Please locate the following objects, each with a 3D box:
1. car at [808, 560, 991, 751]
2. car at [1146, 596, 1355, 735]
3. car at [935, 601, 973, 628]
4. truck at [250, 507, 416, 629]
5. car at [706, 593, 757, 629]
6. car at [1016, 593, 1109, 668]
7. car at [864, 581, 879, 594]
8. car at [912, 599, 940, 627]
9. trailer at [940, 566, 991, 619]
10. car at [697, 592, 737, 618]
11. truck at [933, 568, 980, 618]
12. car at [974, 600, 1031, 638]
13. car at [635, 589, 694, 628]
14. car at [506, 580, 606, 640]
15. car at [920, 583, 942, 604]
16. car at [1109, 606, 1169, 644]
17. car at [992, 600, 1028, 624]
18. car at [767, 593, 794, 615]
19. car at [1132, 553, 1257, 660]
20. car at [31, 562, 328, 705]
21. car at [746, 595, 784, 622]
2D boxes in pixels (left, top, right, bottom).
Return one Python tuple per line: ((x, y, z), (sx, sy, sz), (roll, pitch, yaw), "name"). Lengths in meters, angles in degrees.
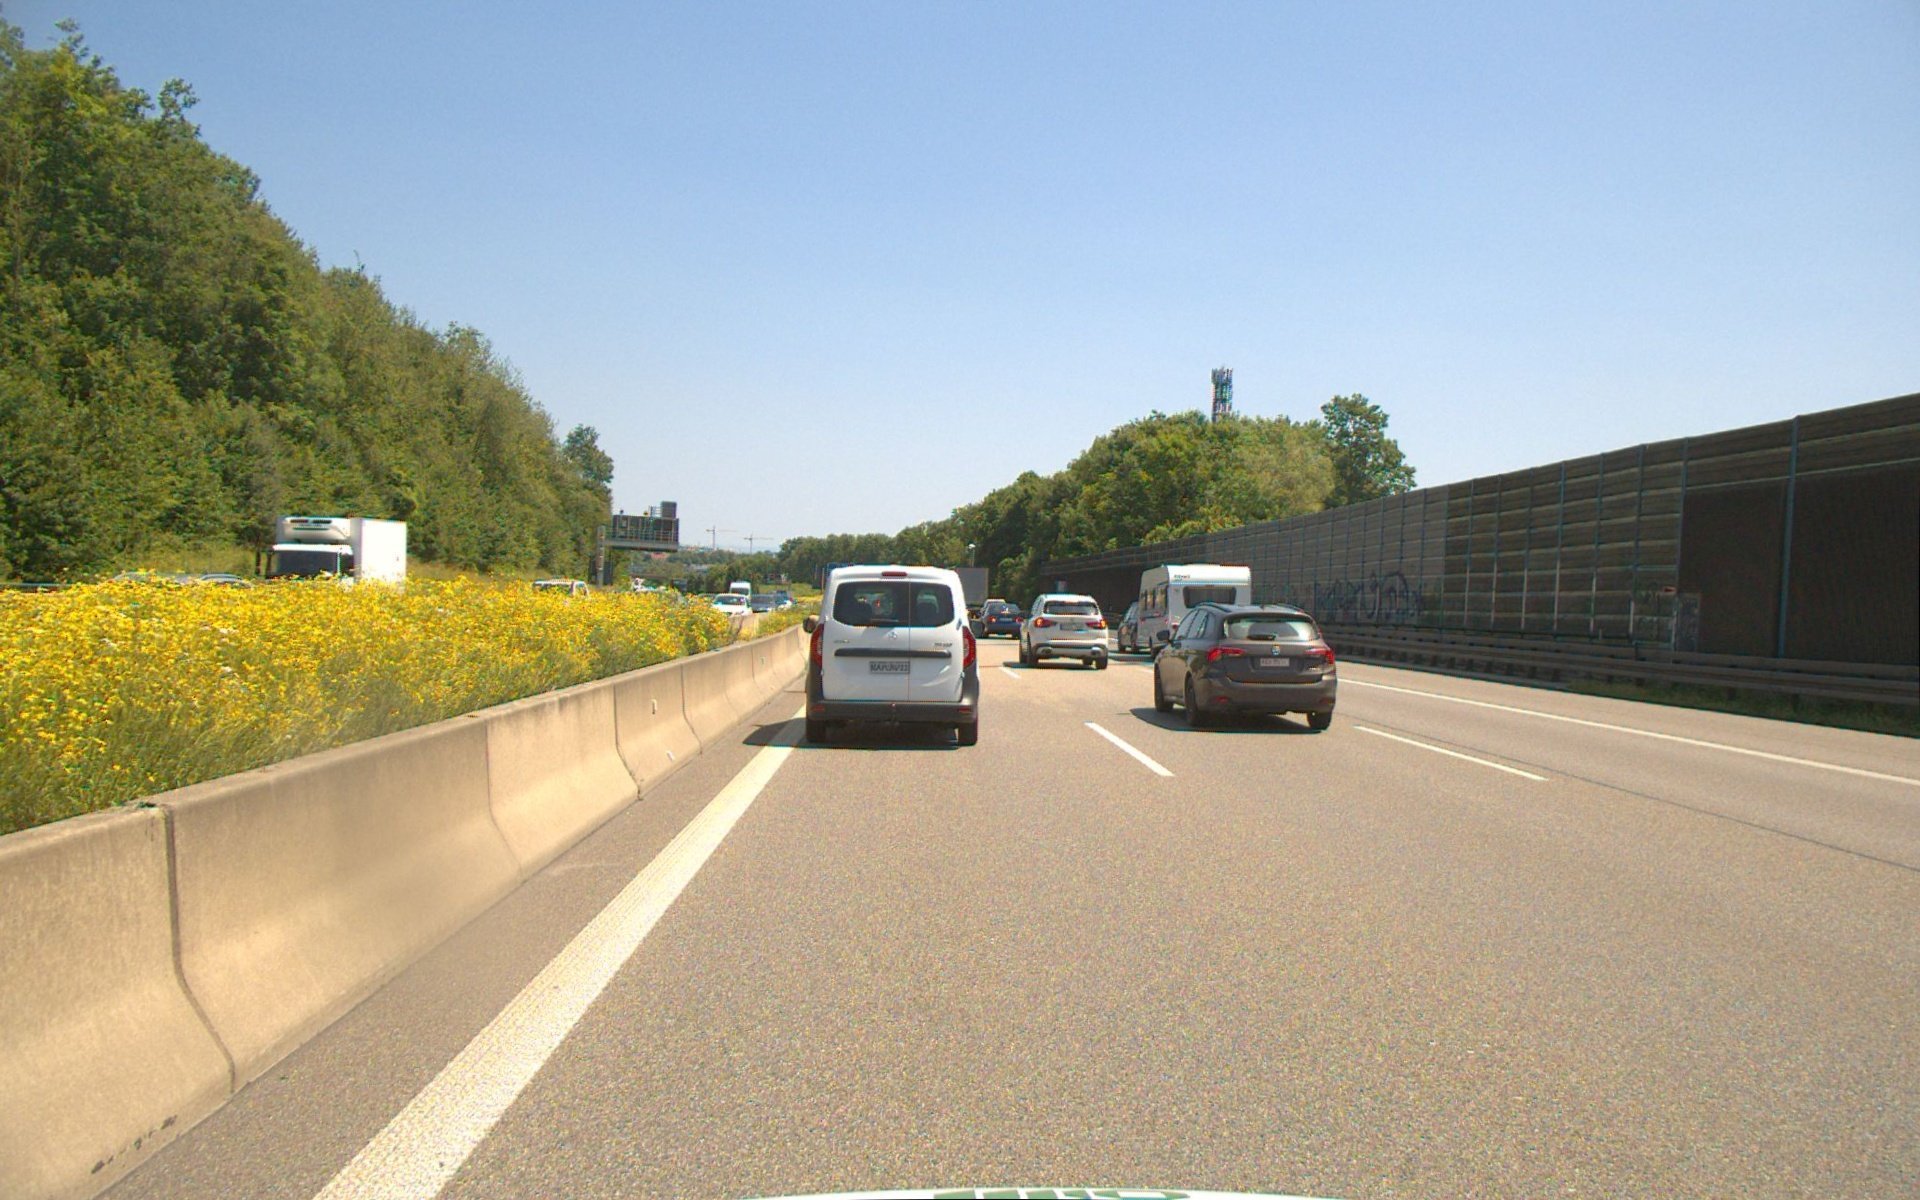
((-0.631, 0.544, 18.197), (1.766, 1.839, 3.999), (1, 0, -1), "car")
((3.611, 0.750, 21.321), (1.801, 1.539, 4.401), (2, 0, -1), "car")
((-0.371, 0.831, 95.509), (1.789, 1.449, 3.995), (1, 0, -5), "car")
((-19.817, -0.951, 52.754), (2.681, 3.535, 7.311), (1, 0, -2), "truck")
((-9.570, 0.446, 69.405), (1.599, 1.453, 4.035), (1, 0, -1), "car")
((2.378, 0.685, 39.243), (1.833, 1.636, 3.878), (2, 0, -1), "car")
((-13.331, -1.874, 248.224), (1.955, 1.758, 3.994), (1, 0, -7), "car")
((-2.517, 0.934, 121.093), (1.789, 2.024, 3.996), (-1, 1, -5), "car")
((0.350, -0.562, 133.318), (3.022, 4.055, 10.311), (1, 0, -5), "trailer")
((-14.143, 0.276, 96.441), (1.805, 1.445, 4.232), (1, 0, -2), "car")
((-0.374, -0.549, 141.043), (3.022, 4.055, 9.635), (1, 0, -5), "truck")
((1.659, 0.742, 65.761), (1.789, 1.449, 3.995), (1, 0, -5), "car")
((-12.435, 0.333, 69.856), (1.805, 1.573, 3.999), (1, 0, -1), "car")
((-12.356, 0.293, 50.864), (1.953, 1.731, 4.529), (1, 0, -1), "car")
((-2.981, -0.631, 167.647), (1.955, 2.049, 3.996), (1, 0, -5), "car")
((7.140, 0.988, 66.148), (1.787, 1.449, 3.998), (1, 0, -3), "car")
((3.212, 0.741, 107.354), (1.789, 1.449, 3.995), (2, 0, -5), "car")
((-12.647, 0.273, 116.691), (1.632, 1.453, 3.855), (1, 0, -2), "car")
((6.561, 0.190, 47.079), (2.429, 2.814, 6.217), (1, 0, -2), "car")
((-9.599, 0.373, 20.739), (1.750, 1.571, 4.155), (1, 0, -1), "car")
((-10.469, 0.444, 89.029), (1.697, 1.430, 4.608), (0, 0, -3), "car")
